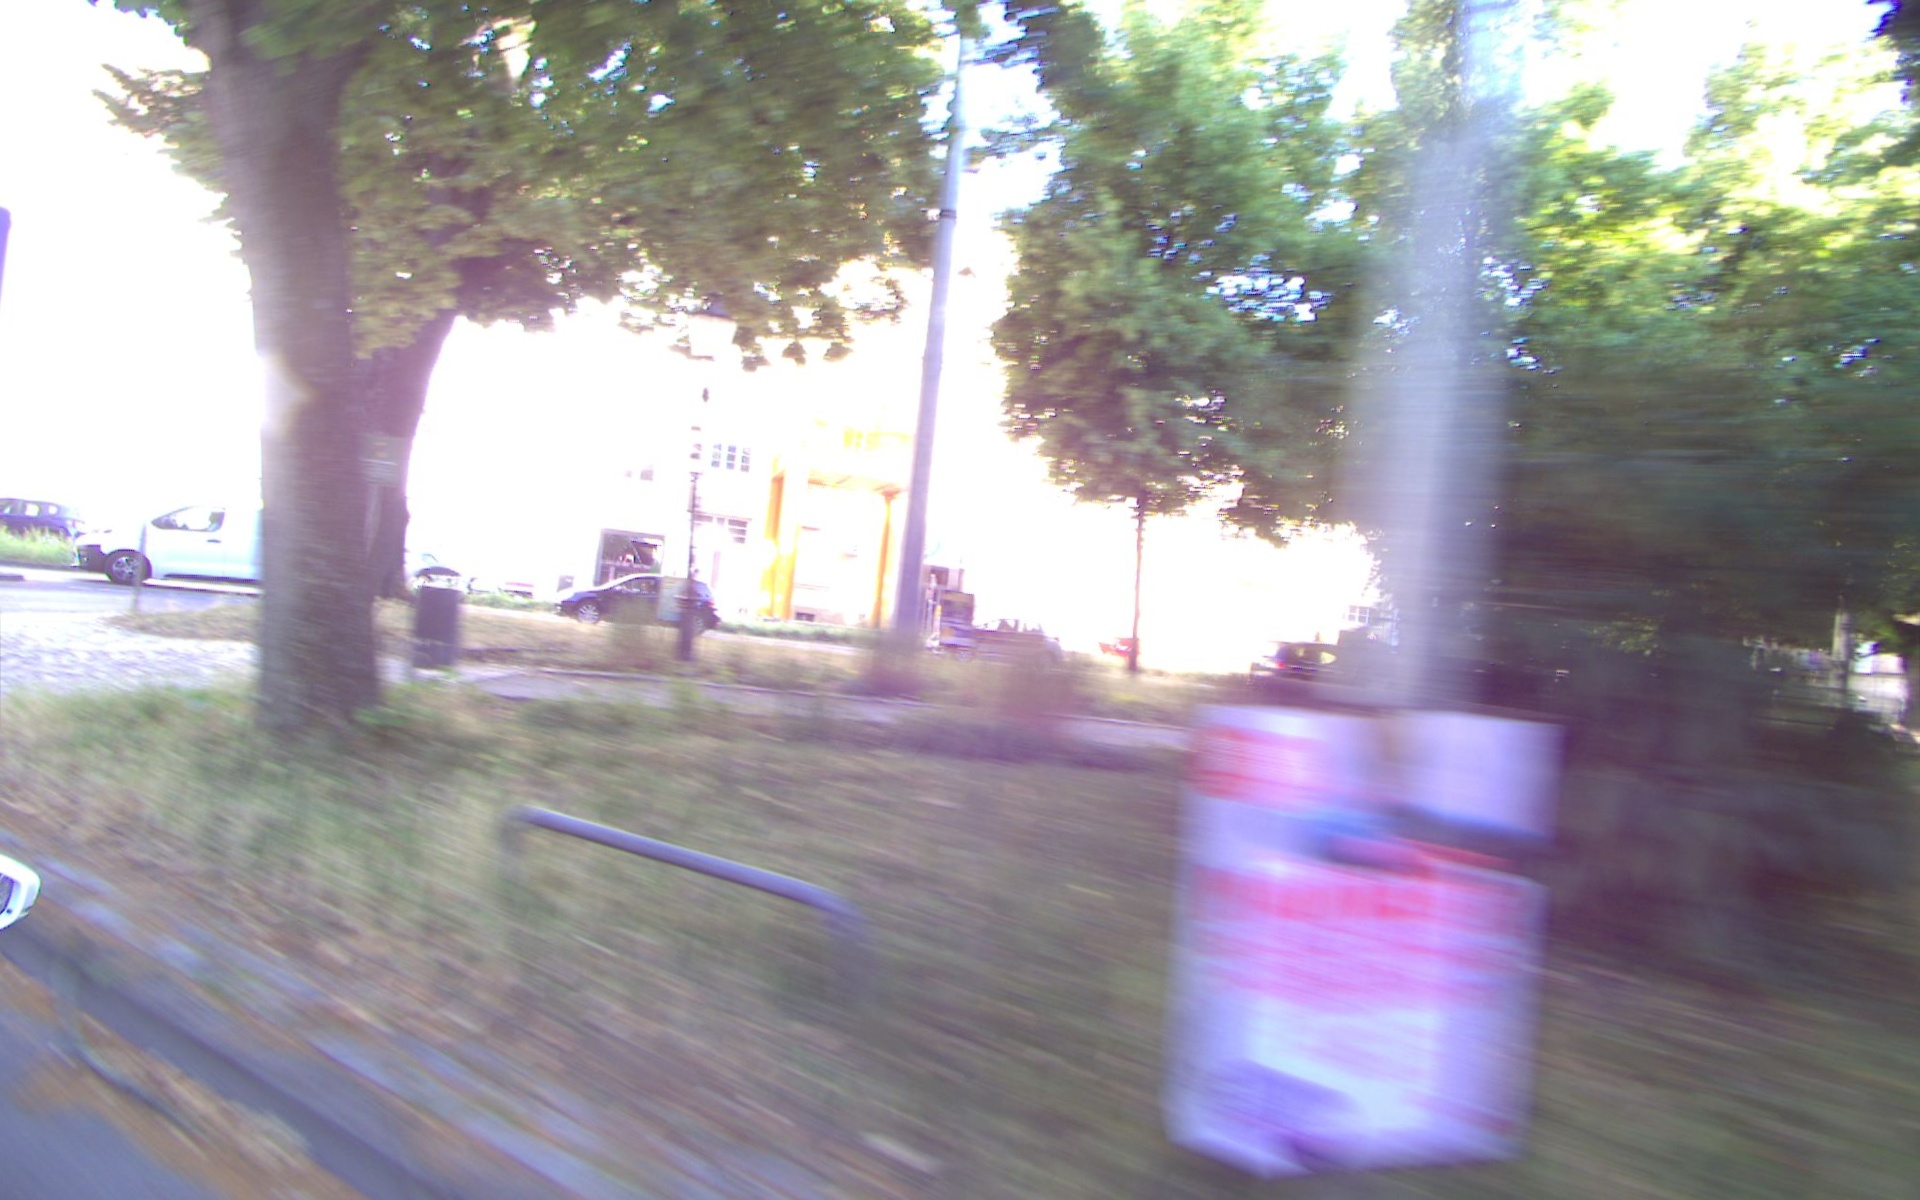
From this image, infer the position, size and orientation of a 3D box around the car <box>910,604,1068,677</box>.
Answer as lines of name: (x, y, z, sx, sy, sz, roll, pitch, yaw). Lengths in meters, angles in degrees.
car: (0.813, 1.167, 29.150, 4.016, 1.537, 1.991, 8, -1, -21)

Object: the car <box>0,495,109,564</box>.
car: (-28.894, -2.257, 30.485, 4.150, 1.770, 1.991, 8, -1, -20)

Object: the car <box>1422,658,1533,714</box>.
car: (23.448, 3.889, 45.788, 1.973, 1.944, 4.053, 7, -1, -21)

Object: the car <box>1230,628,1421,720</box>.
car: (9.008, 1.806, 24.869, 3.941, 1.815, 1.993, 7, -2, -19)

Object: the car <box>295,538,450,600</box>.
car: (-19.604, -1.003, 33.766, 4.039, 1.470, 1.992, 8, -1, -19)

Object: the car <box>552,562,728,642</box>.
car: (-8.159, 0.052, 25.795, 4.014, 1.462, 1.992, 8, -1, -19)

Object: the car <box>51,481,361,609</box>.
car: (-15.541, -1.068, 21.074, 4.861, 1.876, 1.980, 8, -1, -37)

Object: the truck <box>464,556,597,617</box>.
truck: (-15.130, -0.466, 35.672, 4.039, 1.604, 1.992, 8, -1, -19)
